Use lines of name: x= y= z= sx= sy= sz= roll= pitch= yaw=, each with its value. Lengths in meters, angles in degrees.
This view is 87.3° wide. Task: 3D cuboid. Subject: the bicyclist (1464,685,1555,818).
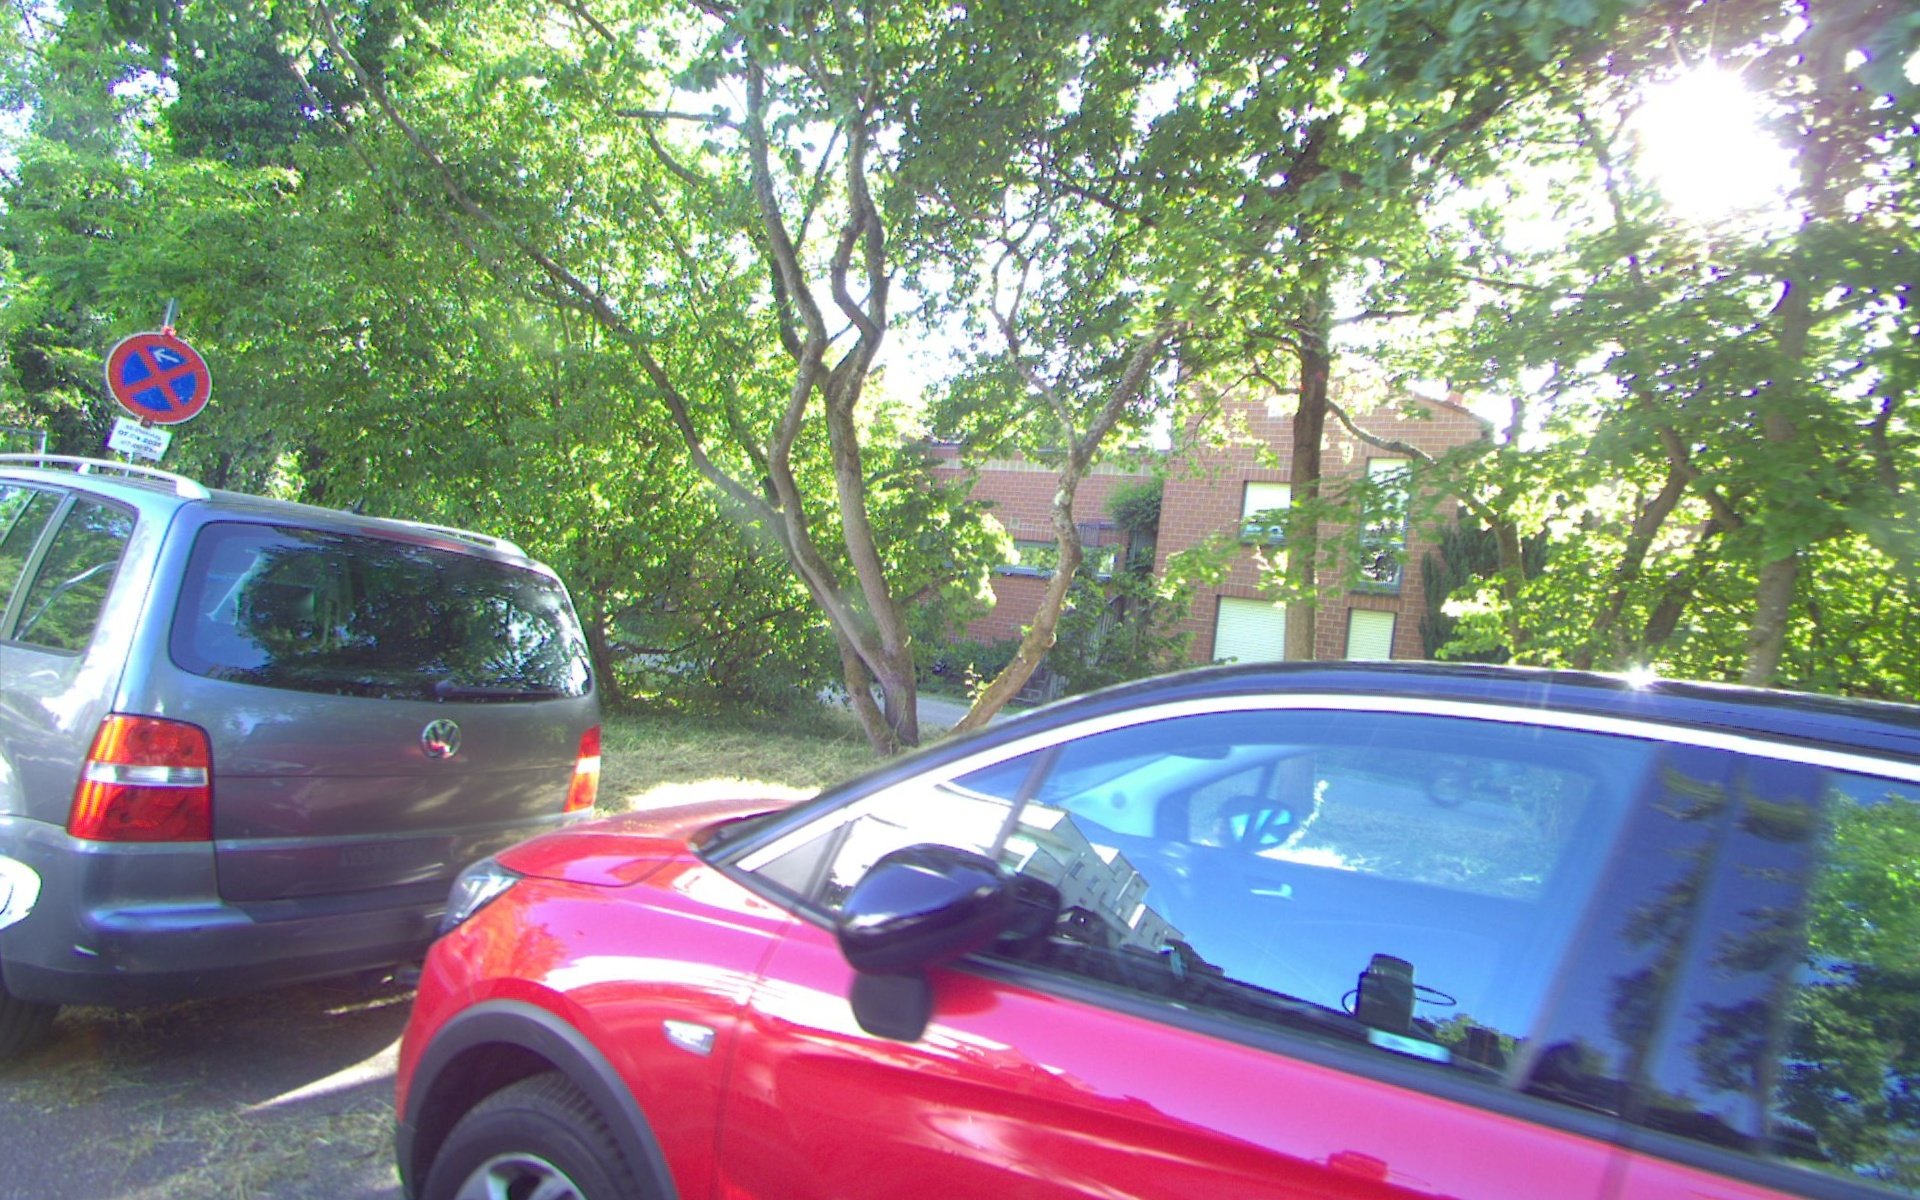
bicyclist: x=6.970 y=1.897 z=12.774 sx=0.826 sy=1.517 sz=0.633 roll=7 pitch=-1 yaw=30

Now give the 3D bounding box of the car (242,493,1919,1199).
car: x=0.696 y=0.861 z=1.784 sx=3.999 sy=1.592 sz=1.682 roll=7 pitch=-2 yaw=32

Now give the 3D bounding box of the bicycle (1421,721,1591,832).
bicycle: x=6.903 y=2.205 z=12.779 sx=1.755 sy=1.052 sz=0.633 roll=7 pitch=-1 yaw=30

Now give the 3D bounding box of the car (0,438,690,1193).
car: x=-3.250 y=0.355 z=3.957 sx=4.067 sy=1.640 sz=1.683 roll=7 pitch=-2 yaw=30
